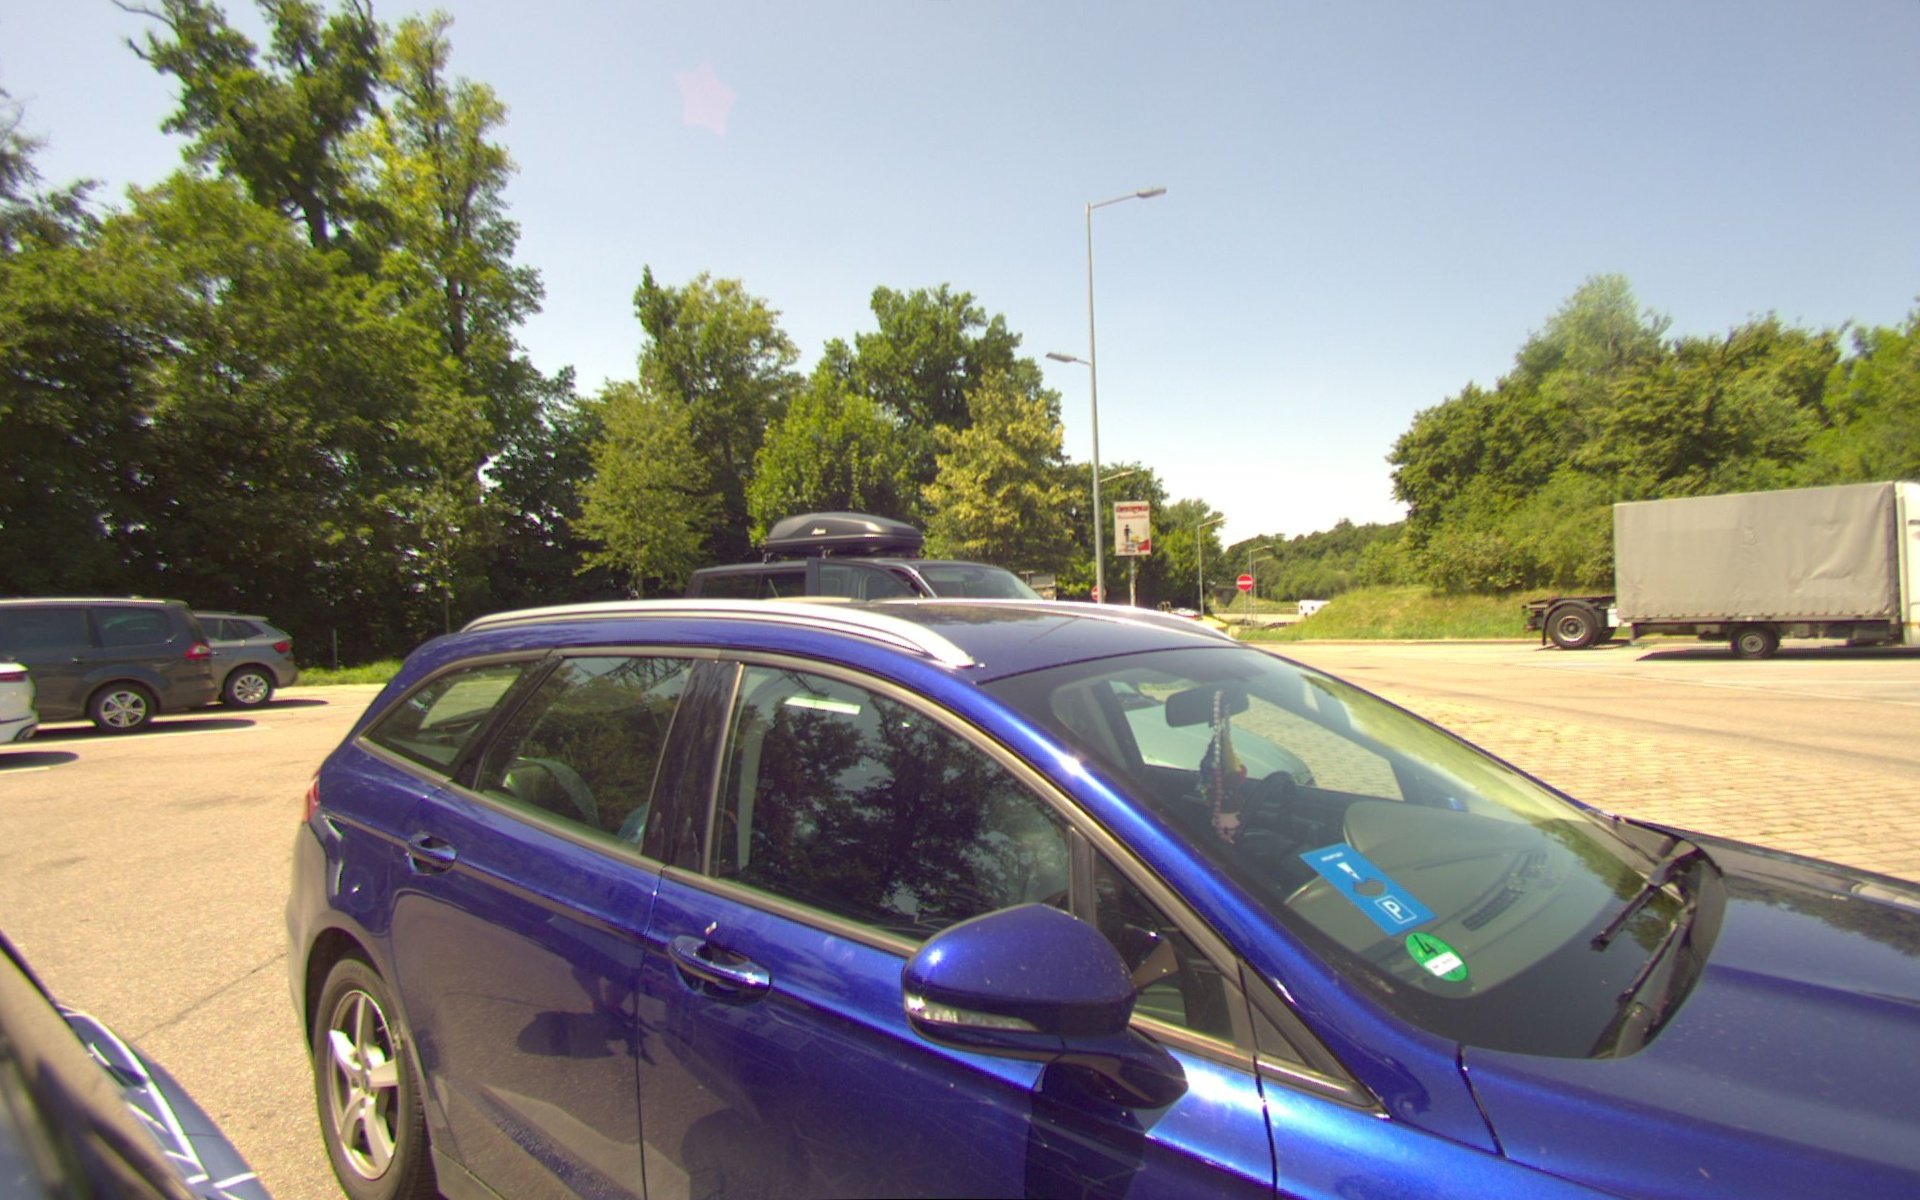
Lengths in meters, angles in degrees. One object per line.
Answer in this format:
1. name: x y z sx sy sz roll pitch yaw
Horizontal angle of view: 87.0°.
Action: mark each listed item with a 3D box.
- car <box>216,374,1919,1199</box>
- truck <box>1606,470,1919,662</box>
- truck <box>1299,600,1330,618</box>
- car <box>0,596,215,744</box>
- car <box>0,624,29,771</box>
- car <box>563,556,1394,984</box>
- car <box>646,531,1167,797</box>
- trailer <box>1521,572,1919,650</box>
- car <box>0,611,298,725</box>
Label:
1. car: 0.246 0.636 2.075 4.637 1.493 1.720 -3 -1 39
2. truck: 16.704 -0.616 18.936 7.337 3.235 2.502 -4 -1 41
3. truck: 49.932 1.182 142.590 2.077 2.461 5.573 -1 0 -4
4. car: -11.656 0.835 12.624 3.762 1.737 1.724 0 -1 -38
5. car: -10.997 0.944 9.160 3.767 1.396 1.722 0 -1 -44
6. car: -0.216 0.674 5.787 4.637 1.545 1.720 -3 0 39
7. car: -0.660 0.512 9.361 4.635 1.884 1.937 -3 0 37
8. trailer: 17.633 0.295 23.158 8.088 1.385 2.200 -4 -1 41
9. car: -12.595 0.969 15.705 3.762 1.551 1.724 0 -1 -38
